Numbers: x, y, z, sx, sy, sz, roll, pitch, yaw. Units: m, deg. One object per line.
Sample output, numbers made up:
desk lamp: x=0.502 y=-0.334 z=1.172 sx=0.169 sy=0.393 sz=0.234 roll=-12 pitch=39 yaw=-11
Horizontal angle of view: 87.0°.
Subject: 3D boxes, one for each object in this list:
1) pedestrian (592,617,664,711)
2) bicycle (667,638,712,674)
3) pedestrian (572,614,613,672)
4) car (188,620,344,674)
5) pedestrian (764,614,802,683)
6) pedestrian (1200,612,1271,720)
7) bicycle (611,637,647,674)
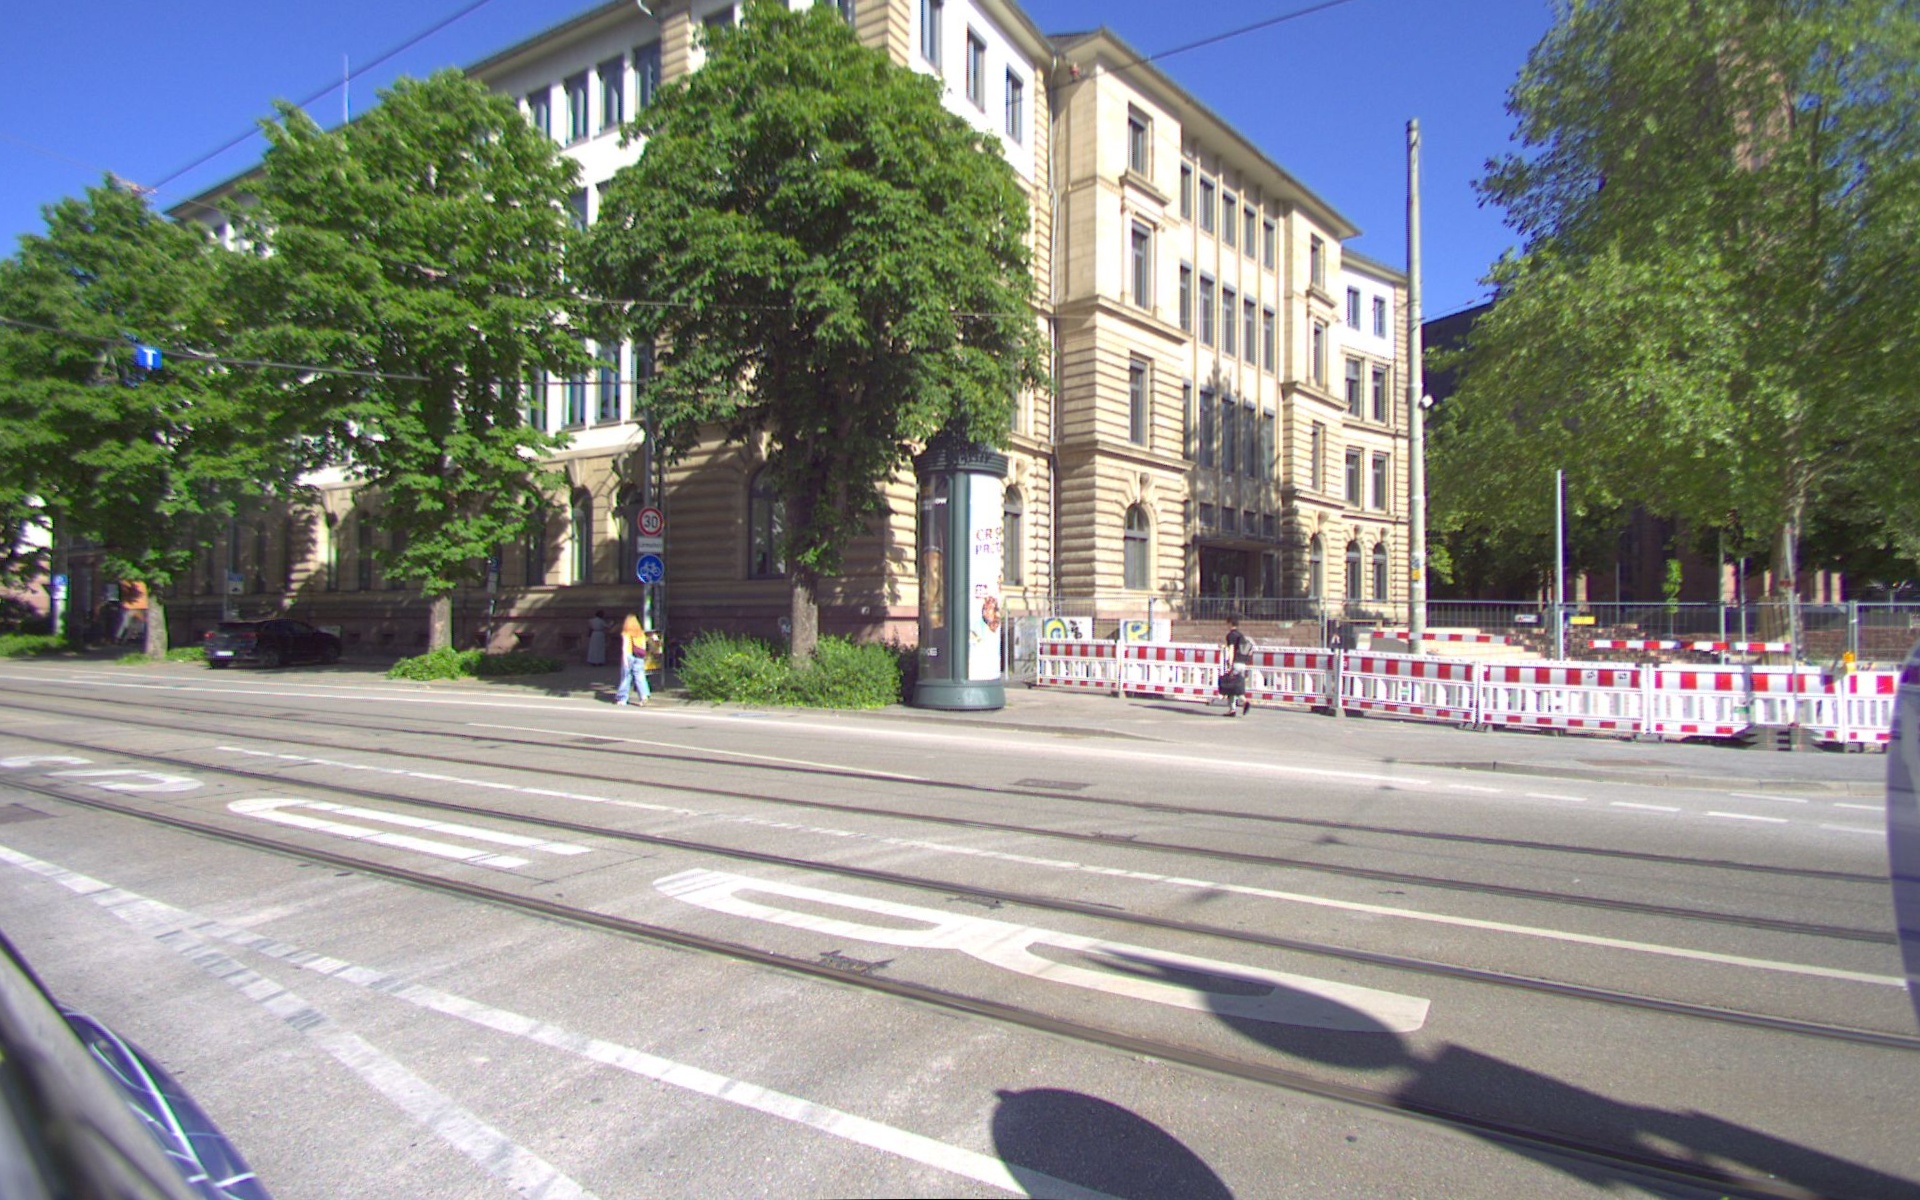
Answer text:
pedestrian: x=-6.150 y=1.160 z=18.755 sx=1.031 sy=1.682 sz=0.763 roll=-1 pitch=-3 yaw=34
bicycle: x=-7.260 y=1.490 z=27.161 sx=1.357 sy=0.910 sz=0.393 roll=0 pitch=0 yaw=34
pedestrian: x=-10.620 y=1.233 z=29.238 sx=0.672 sy=1.578 sz=0.848 roll=0 pitch=2 yaw=37
car: x=-21.632 y=1.424 z=31.767 sx=1.896 sy=1.586 sz=4.104 roll=0 pitch=-2 yaw=4
pedestrian: x=-4.085 y=1.107 z=23.382 sx=0.652 sy=1.574 sz=0.572 roll=-1 pitch=-2 yaw=32
pedestrian: x=4.496 y=1.056 z=16.517 sx=0.846 sy=1.682 sz=0.720 roll=2 pitch=0 yaw=42
bicycle: x=-9.032 y=1.499 z=27.638 sx=1.099 sy=0.963 sz=0.339 roll=0 pitch=0 yaw=34
